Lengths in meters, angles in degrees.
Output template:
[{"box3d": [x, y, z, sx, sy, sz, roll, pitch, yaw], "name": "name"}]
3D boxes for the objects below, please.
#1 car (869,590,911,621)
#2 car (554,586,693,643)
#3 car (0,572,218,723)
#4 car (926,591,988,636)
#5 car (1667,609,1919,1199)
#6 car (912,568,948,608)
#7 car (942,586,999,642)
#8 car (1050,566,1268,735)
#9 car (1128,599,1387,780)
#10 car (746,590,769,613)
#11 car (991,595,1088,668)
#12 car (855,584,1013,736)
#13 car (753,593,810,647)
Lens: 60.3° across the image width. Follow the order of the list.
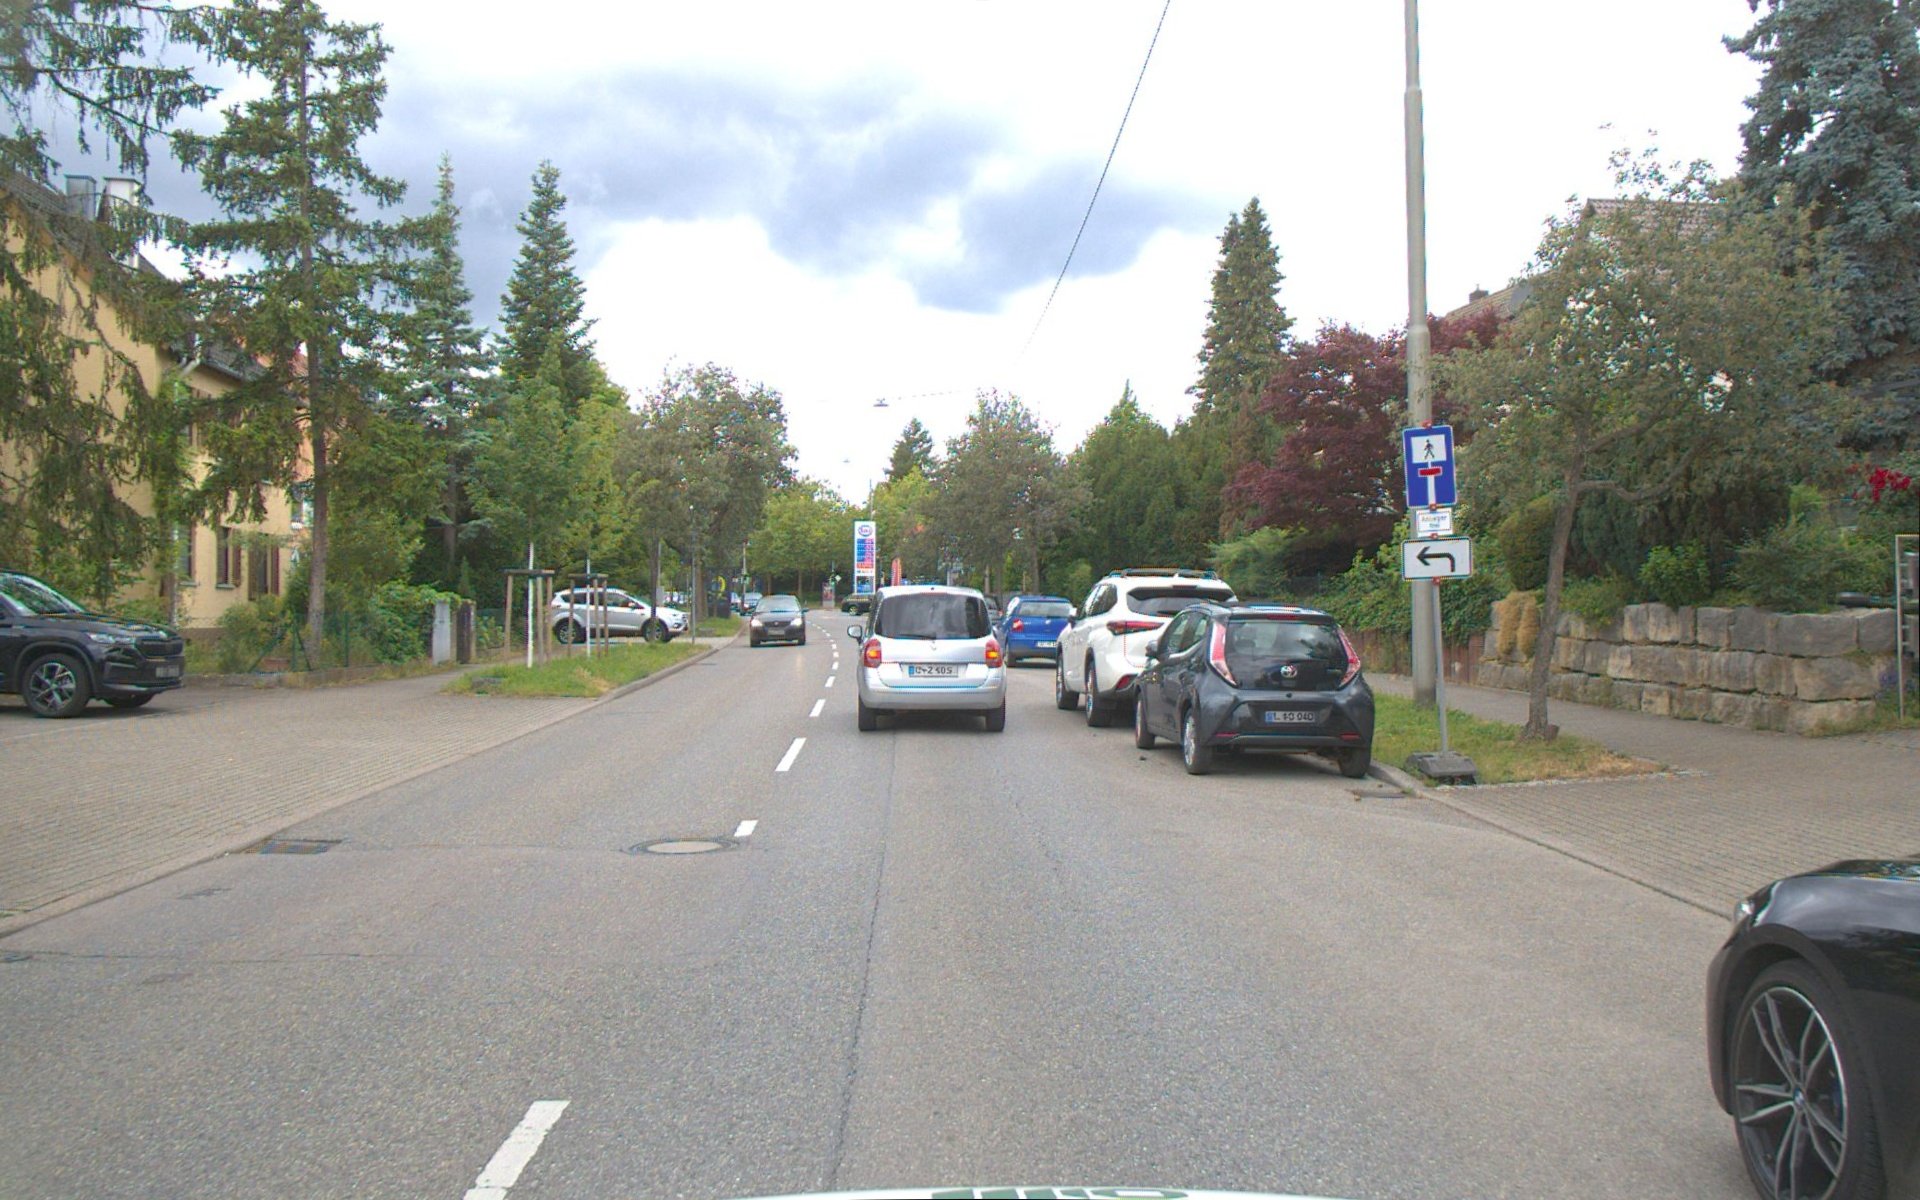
[{"box3d": [-3.480, 0.255, 82.051, 1.664, 1.532, 3.964, 0, 0, -9], "name": "car"}, {"box3d": [-10.389, 0.434, 51.267, 4.005, 1.735, 1.746, 0, 0, -3], "name": "car"}, {"box3d": [-11.230, 0.502, 19.269, 4.244, 1.646, 1.973, 1, 0, 0], "name": "car"}, {"box3d": [-0.150, 0.436, 56.523, 1.664, 1.458, 4.334, 0, 0, -7], "name": "car"}, {"box3d": [2.992, 0.805, 2.484, 1.793, 1.482, 4.549, 1, 0, -2], "name": "car"}, {"box3d": [-2.318, -0.926, 127.647, 2.237, 2.962, 5.272, 1, 0, -6], "name": "car"}, {"box3d": [0.320, 0.405, 51.147, 1.660, 1.584, 3.956, -1, 1, 0], "name": "car"}, {"box3d": [2.309, 0.540, 20.441, 1.764, 1.809, 4.701, 1, 0, -4], "name": "car"}, {"box3d": [2.661, 0.751, 15.521, 1.527, 1.468, 3.503, 1, 0, -5], "name": "car"}, {"box3d": [-13.592, 0.098, 110.853, 1.516, 1.496, 3.735, 0, 0, -8], "name": "car"}, {"box3d": [1.656, 0.629, 35.618, 1.595, 1.477, 3.872, 0, 0, -5], "name": "car"}, {"box3d": [-0.326, 0.632, 19.162, 1.645, 1.587, 3.510, 1, 0, -2], "name": "car"}, {"box3d": [-5.283, 0.570, 49.243, 1.544, 1.498, 3.468, -2, 0, -4], "name": "car"}]
